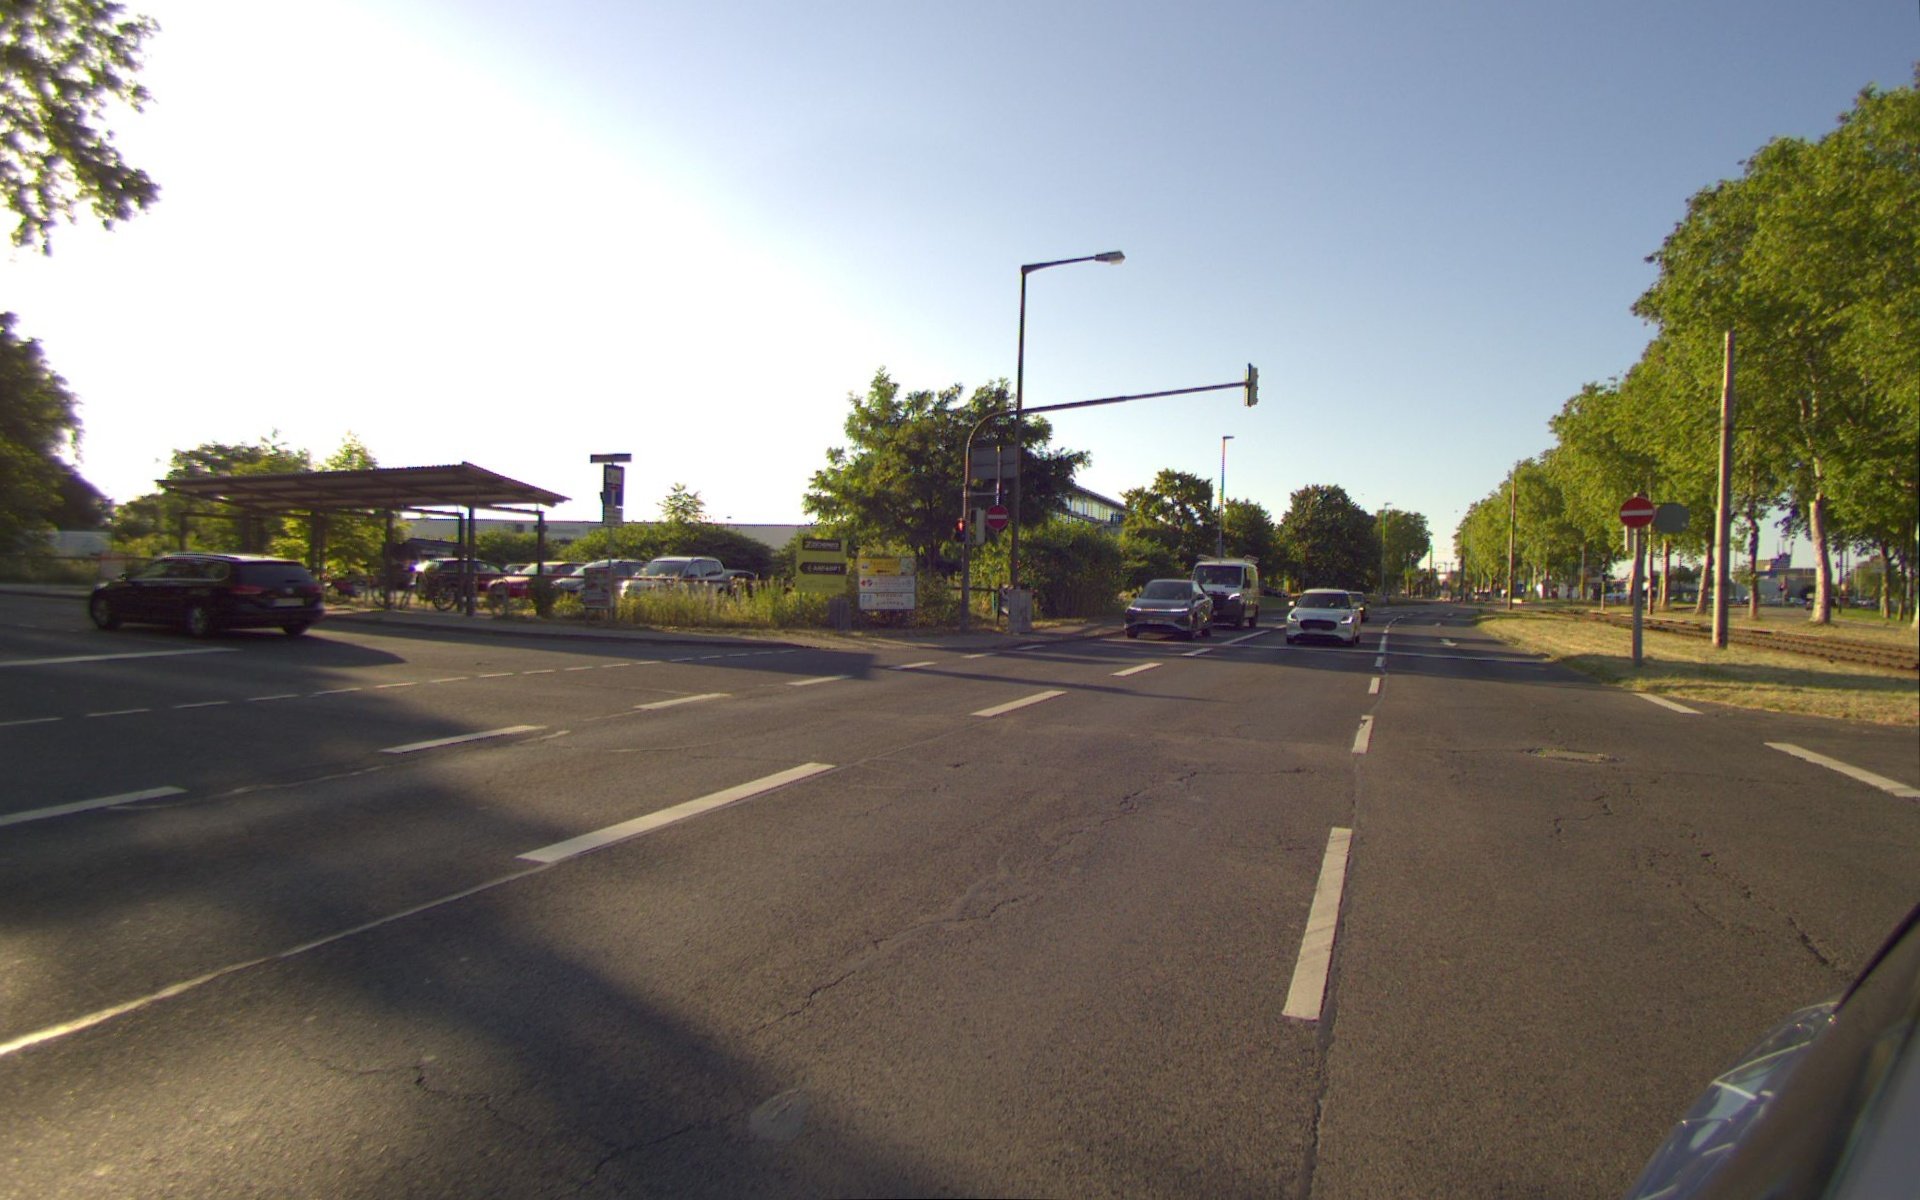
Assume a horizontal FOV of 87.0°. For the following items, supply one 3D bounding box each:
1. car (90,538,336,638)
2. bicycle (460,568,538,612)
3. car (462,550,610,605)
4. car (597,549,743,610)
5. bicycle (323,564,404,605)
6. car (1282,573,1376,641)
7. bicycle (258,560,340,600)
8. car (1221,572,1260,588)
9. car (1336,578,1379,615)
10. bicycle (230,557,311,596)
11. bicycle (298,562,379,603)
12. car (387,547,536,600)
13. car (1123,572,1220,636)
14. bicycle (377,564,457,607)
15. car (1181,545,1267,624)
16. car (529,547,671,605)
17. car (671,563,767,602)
[{"bbox_3d":[-13.491,-0.256,18.260,4.216,1.575,1.814,3,1,26],"label":"car"},{"bbox_3d":[-11.545,-0.257,25.426,0.538,1.051,1.877,2,1,25],"label":"bicycle"},{"bbox_3d":[-13.946,-0.719,33.560,2.097,1.669,4.287,2,1,23],"label":"car"},{"bbox_3d":[-8.746,-0.615,30.900,2.097,1.669,4.195,2,1,23],"label":"car"},{"bbox_3d":[-15.984,-0.420,27.167,0.538,1.051,1.877,2,1,25],"label":"bicycle"},{"bbox_3d":[10.141,0.161,27.646,1.859,1.638,3.960,2,1,28],"label":"car"},{"bbox_3d":[-18.373,-0.544,28.188,0.539,1.051,1.875,2,1,28],"label":"bicycle"},{"bbox_3d":[30.447,-2.210,110.039,3.733,1.586,1.757,2,1,6],"label":"car"},{"bbox_3d":[19.548,-0.202,49.892,1.792,1.705,3.974,2,1,20],"label":"car"},{"bbox_3d":[-19.594,-0.650,28.801,0.539,1.051,1.875,2,1,28],"label":"bicycle"},{"bbox_3d":[-16.820,-0.473,27.419,0.538,1.051,1.877,2,1,25],"label":"bicycle"},{"bbox_3d":[-17.160,-0.894,35.062,2.097,1.669,4.287,2,1,23],"label":"car"},{"bbox_3d":[6.151,0.075,29.050,1.856,1.638,4.512,2,1,23],"label":"car"},{"bbox_3d":[-14.095,-0.370,26.309,0.538,1.051,1.877,2,1,25],"label":"bicycle"},{"bbox_3d":[9.653,-0.553,36.625,1.988,2.598,5.827,2,1,24],"label":"car"},{"bbox_3d":[-11.366,-0.743,32.228,2.097,1.669,3.969,2,1,23],"label":"car"},{"bbox_3d":[-11.043,-0.788,46.622,2.106,1.657,3.952,3,1,33],"label":"car"}]
